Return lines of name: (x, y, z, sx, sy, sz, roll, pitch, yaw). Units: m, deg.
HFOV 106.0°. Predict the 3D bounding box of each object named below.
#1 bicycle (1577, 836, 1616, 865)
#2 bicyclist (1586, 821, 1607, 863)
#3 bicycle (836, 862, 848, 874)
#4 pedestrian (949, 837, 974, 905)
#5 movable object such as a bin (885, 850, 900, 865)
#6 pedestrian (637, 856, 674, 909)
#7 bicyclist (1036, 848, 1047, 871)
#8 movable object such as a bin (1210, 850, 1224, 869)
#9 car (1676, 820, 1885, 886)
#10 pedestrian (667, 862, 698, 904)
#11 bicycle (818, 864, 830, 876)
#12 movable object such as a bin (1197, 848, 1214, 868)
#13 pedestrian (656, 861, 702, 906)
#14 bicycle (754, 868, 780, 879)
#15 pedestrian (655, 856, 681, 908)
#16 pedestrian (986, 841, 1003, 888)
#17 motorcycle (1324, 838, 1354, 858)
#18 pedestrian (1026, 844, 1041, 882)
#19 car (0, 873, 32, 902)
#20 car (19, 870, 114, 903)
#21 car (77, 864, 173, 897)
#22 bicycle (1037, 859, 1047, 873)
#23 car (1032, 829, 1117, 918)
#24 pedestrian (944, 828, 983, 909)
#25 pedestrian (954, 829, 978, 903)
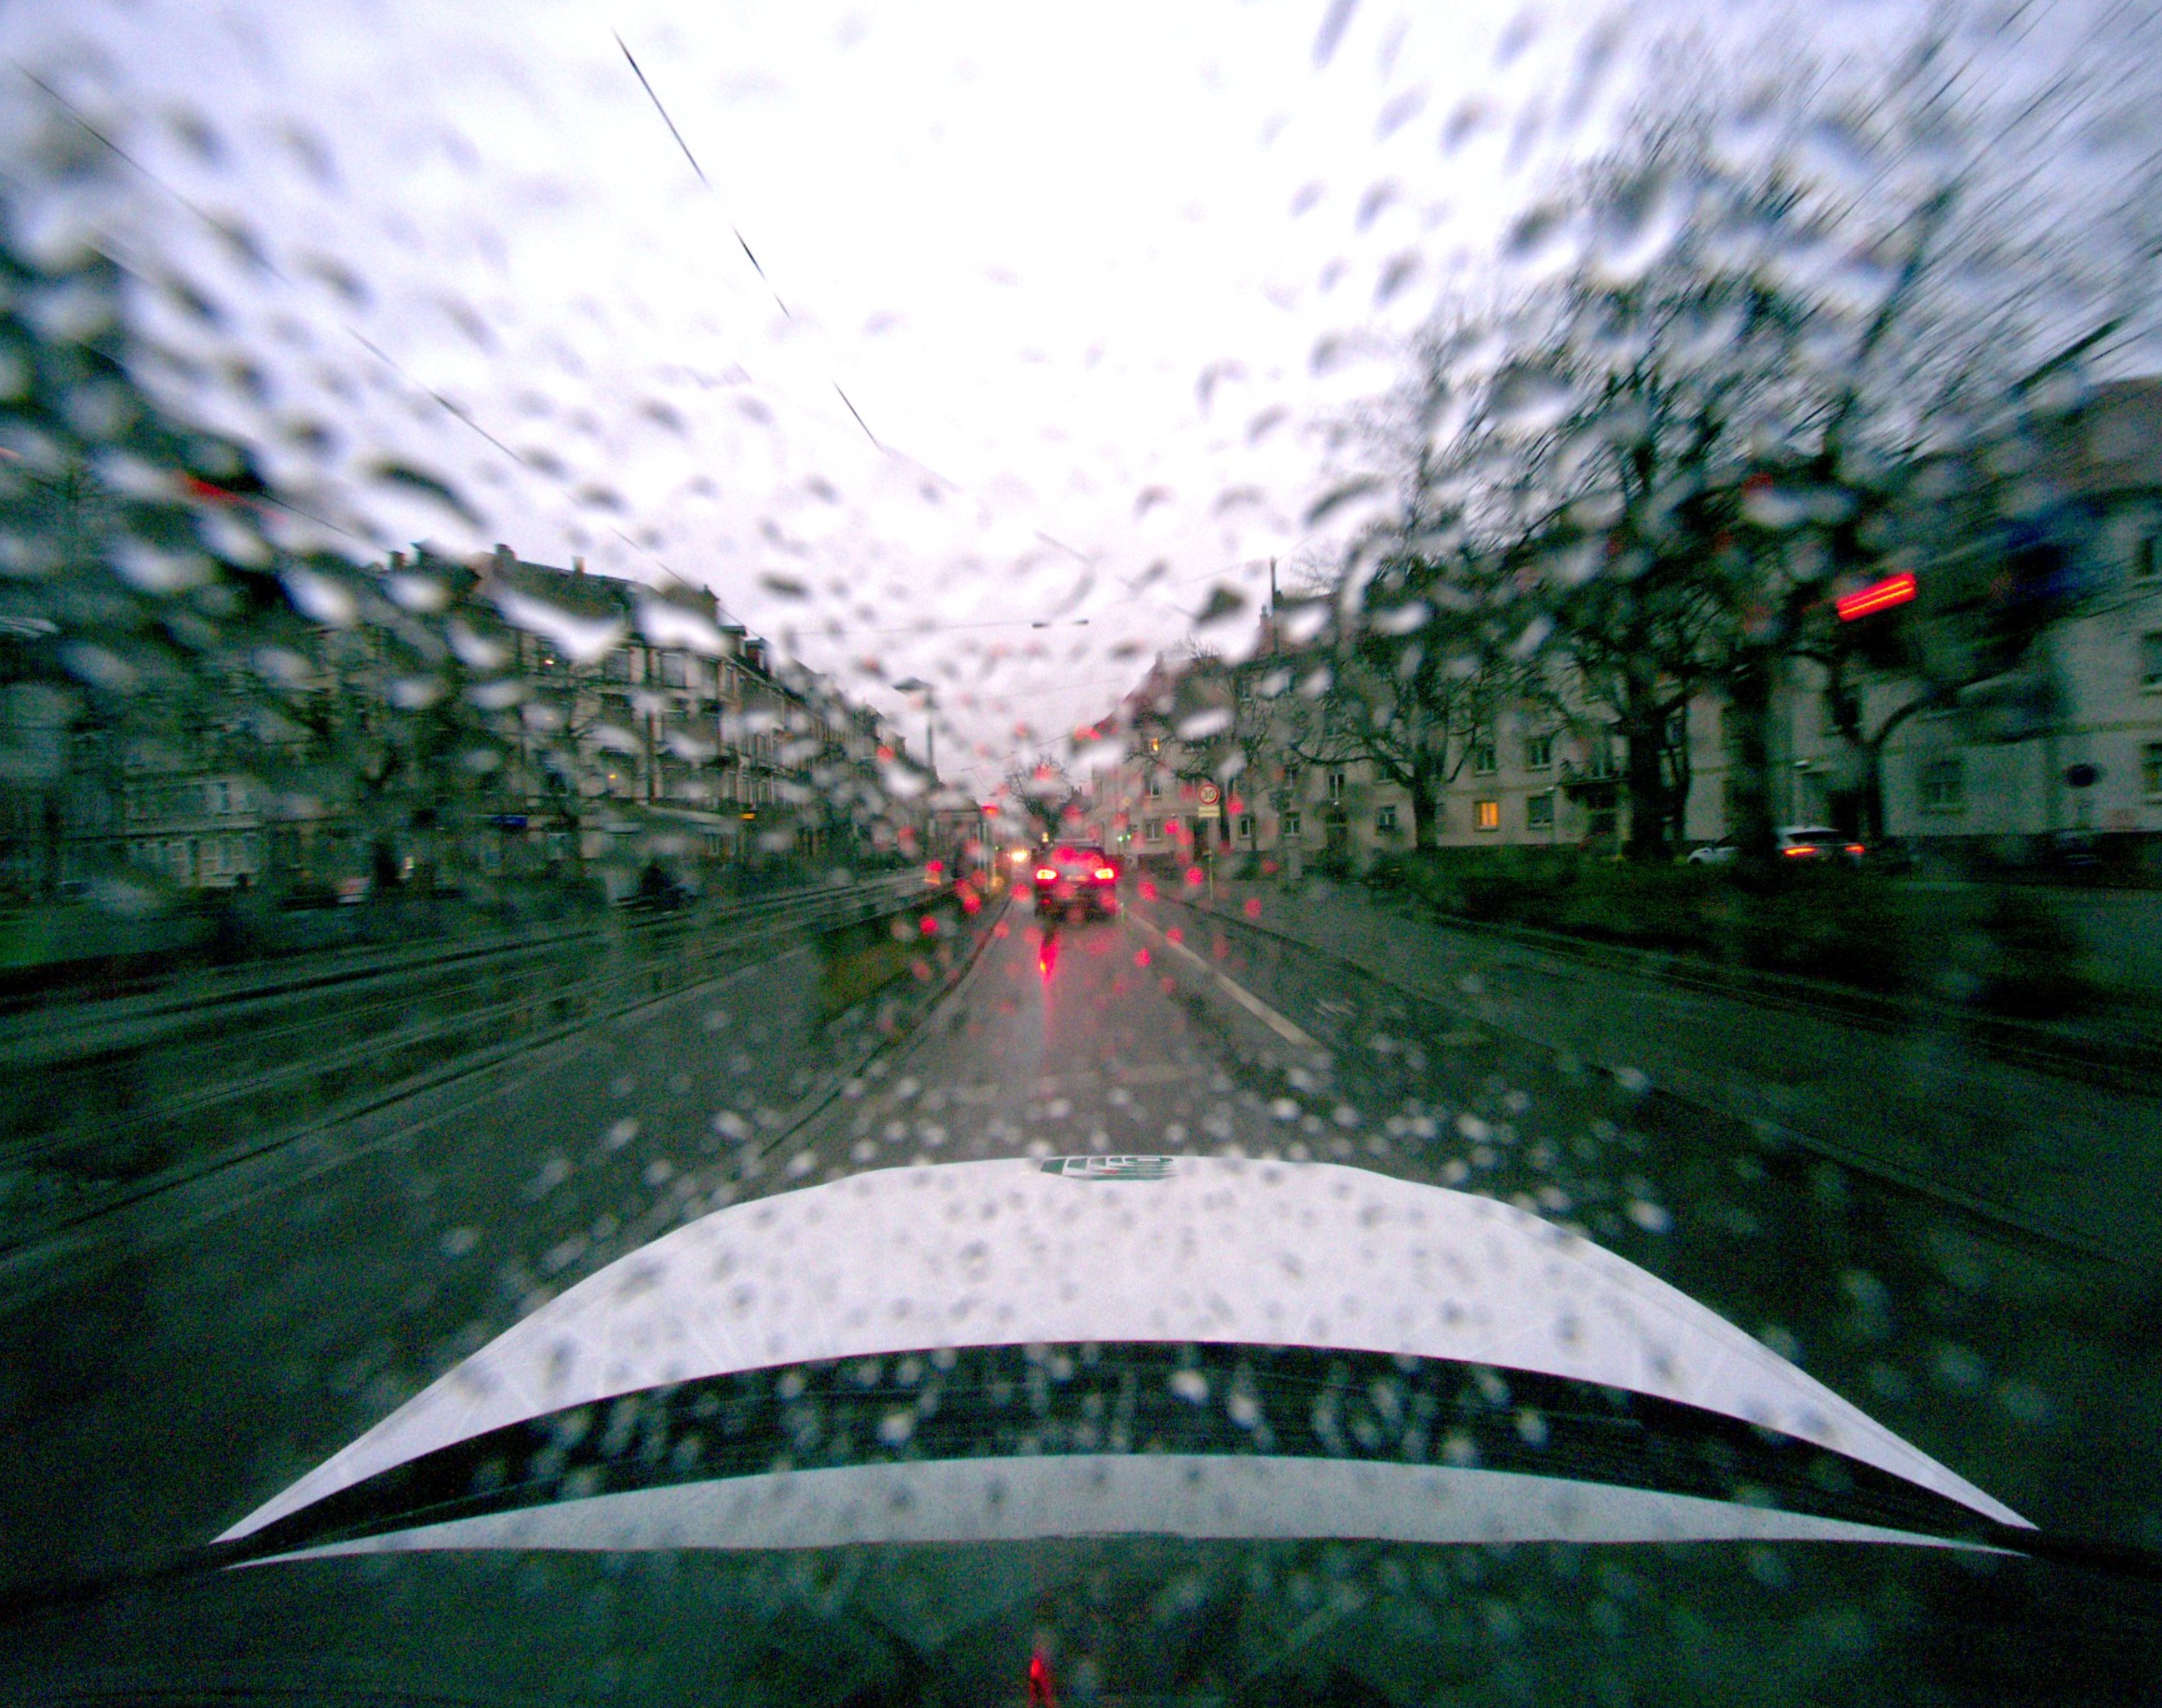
bicycle: (23.677, -0.172, 37.442, 0.465, 1.291, 1.912, -2, 0, -3)
bicyclist: (23.693, -0.558, 37.434, 0.465, 1.886, 0.679, -2, 0, -3)
bicycle: (-19.952, 1.171, 68.033, 0.415, 1.007, 1.848, -2, 0, -2)
pedestrian: (-3.158, 0.446, 21.497, 0.556, 1.741, 0.570, 1, 0, -3)
movable object such as a bin: (-20.497, 0.377, 88.527, 1.239, 1.586, 1.308, -1, 0, 2)
pedestrian: (-11.582, 0.770, 22.189, 0.682, 1.403, 0.577, 1, 0, -4)
bicyclist: (-2.972, 0.400, 61.423, 0.728, 1.736, 0.765, -1, 0, -2)
movable object such as a bin: (8.427, 0.331, 50.420, 0.692, 1.120, 0.542, 1, 0, 39)
car: (18.323, 0.027, 21.708, 1.883, 1.510, 4.763, -2, -1, 7)
pedestrian: (-11.894, 0.870, 24.343, 0.651, 1.218, 0.516, 1, 0, -4)
bicycle: (-19.961, 1.210, 63.198, 0.398, 0.862, 1.848, -2, 0, -2)
movable object such as a bin: (7.781, 0.263, 50.928, 0.843, 1.251, 0.525, 1, 0, 39)
pedestrian: (-11.736, 0.853, 23.817, 1.053, 1.254, 0.506, 1, 0, -4)
bicycle: (-22.009, 1.361, 57.074, 0.395, 0.759, 1.822, -1, 0, 33)
pedestrian: (-11.511, 0.773, 22.719, 0.472, 1.403, 0.453, 1, 0, -4)
pedestrian: (-3.390, 0.397, 31.892, 0.556, 1.807, 0.570, 1, 0, -3)
motorcycle: (15.216, -0.356, 48.003, 0.573, 1.105, 1.584, -5, 2, -39)
pedestrian: (-2.479, 0.468, 42.644, 0.714, 1.917, 0.688, 1, 0, -4)
car: (-67.879, 2.130, 50.524, 3.957, 1.706, 2.009, -2, 0, 15)
car: (-59.231, 1.890, 47.560, 3.957, 1.706, 2.009, -2, 0, 15)
car: (-53.861, 1.488, 45.911, 3.956, 1.706, 2.009, -2, 0, 16)
bicycle: (-2.952, 0.914, 61.351, 0.729, 1.007, 1.762, -1, 0, -2)
car: (-0.193, 0.422, 19.593, 1.797, 1.871, 4.015, 1, 0, -2)
pedestrian: (-2.876, 0.346, 20.050, 0.851, 1.955, 0.570, 1, 0, -3)
pedestrian: (-3.169, 0.328, 22.512, 0.556, 1.987, 0.570, 1, 0, -3)
